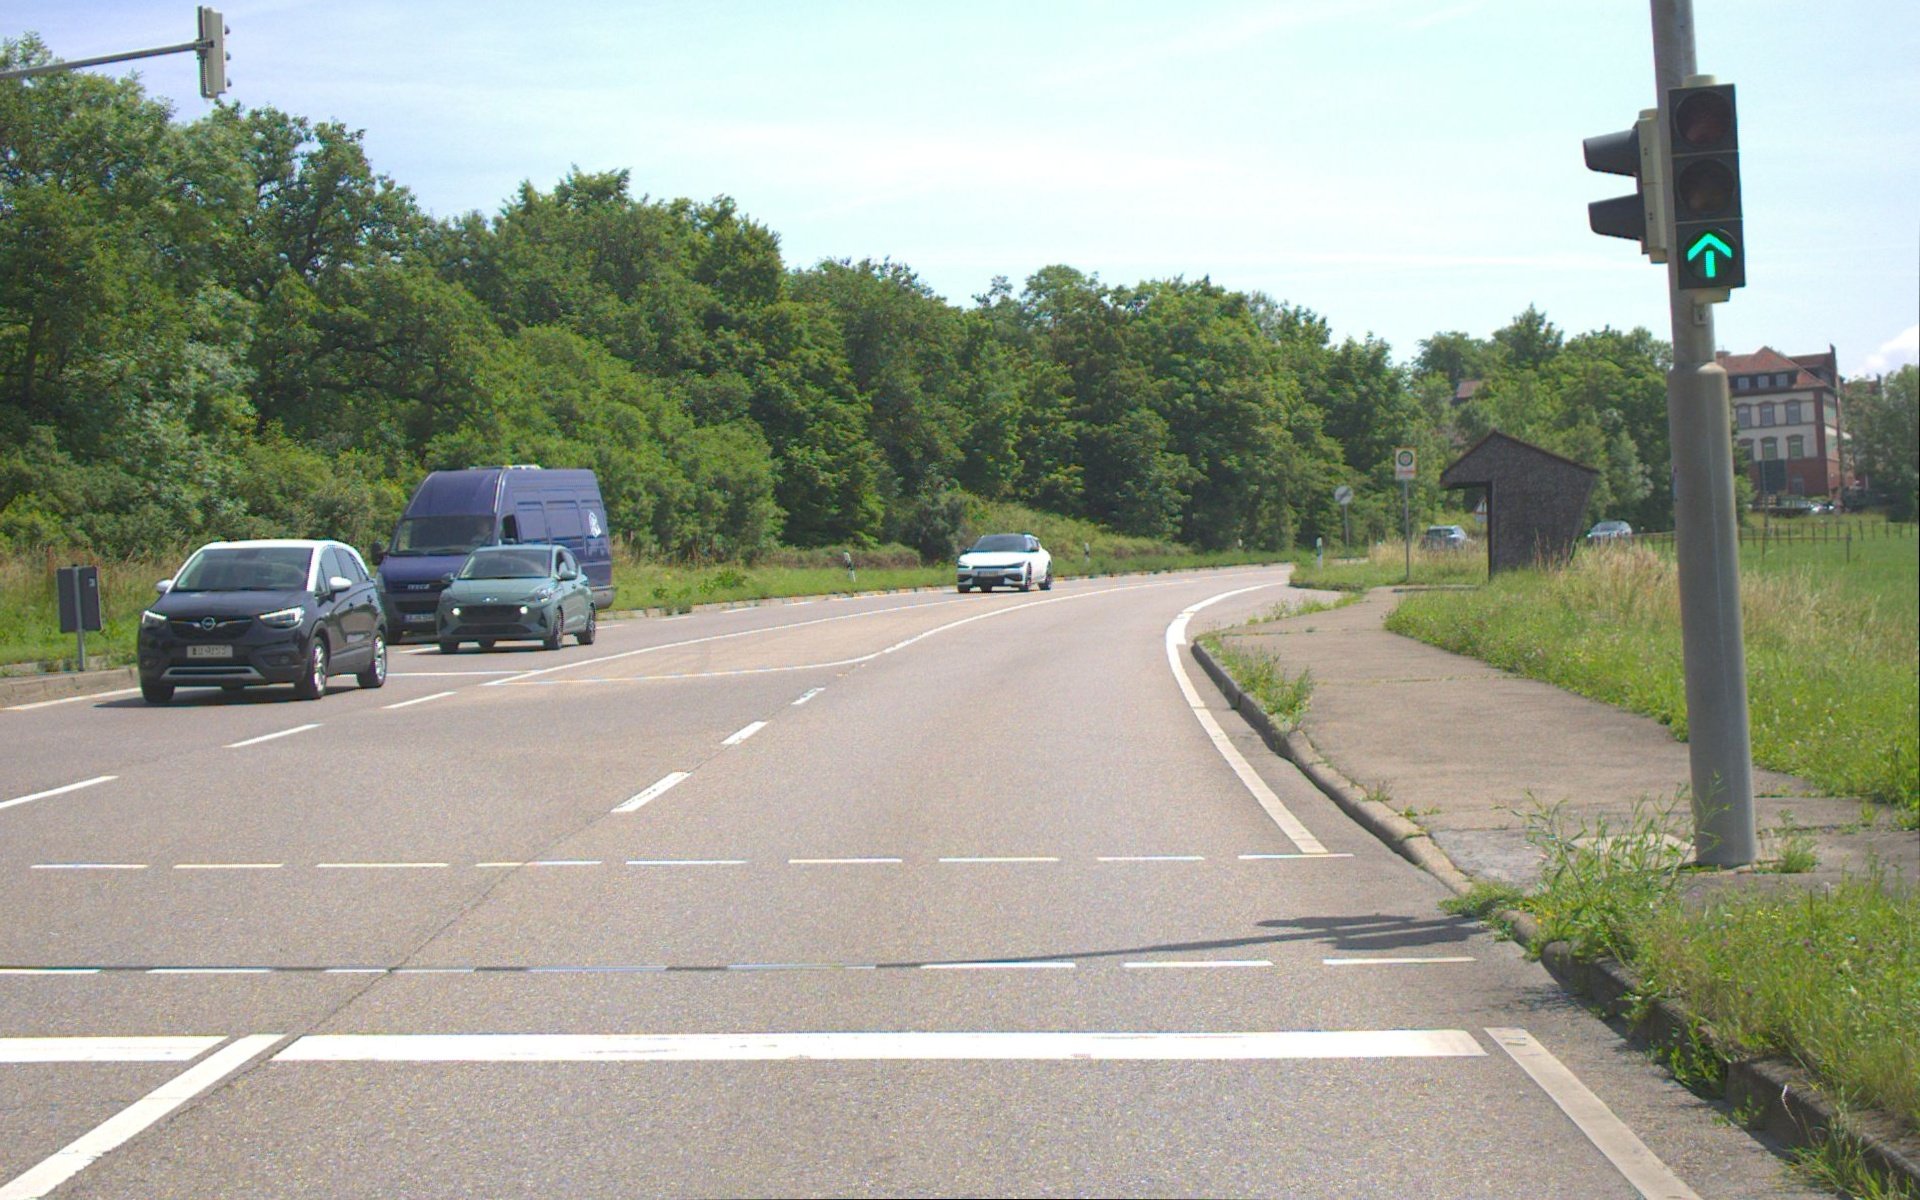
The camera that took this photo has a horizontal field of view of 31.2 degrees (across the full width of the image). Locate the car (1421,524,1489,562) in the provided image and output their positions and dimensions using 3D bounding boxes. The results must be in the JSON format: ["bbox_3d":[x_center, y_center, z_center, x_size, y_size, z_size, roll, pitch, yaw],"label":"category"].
[{"bbox_3d":[21.303,-2.455,147.896,1.996,1.568,3.996,-1,1,22],"label":"car"}]

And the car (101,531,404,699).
[{"bbox_3d":[-7.004,0.111,34.469,1.974,1.557,4.189,-1,1,3],"label":"car"}]

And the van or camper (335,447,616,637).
[{"bbox_3d":[-7.893,-1.045,56.987,2.241,2.904,7.244,-1,2,12],"label":"van or camper"}]

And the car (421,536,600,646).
[{"bbox_3d":[-6.342,-0.155,48.875,1.707,1.478,3.832,-1,1,5],"label":"car"}]

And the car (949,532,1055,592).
[{"bbox_3d":[1.154,-1.026,91.653,1.938,1.543,4.625,-1,1,12],"label":"car"}]
